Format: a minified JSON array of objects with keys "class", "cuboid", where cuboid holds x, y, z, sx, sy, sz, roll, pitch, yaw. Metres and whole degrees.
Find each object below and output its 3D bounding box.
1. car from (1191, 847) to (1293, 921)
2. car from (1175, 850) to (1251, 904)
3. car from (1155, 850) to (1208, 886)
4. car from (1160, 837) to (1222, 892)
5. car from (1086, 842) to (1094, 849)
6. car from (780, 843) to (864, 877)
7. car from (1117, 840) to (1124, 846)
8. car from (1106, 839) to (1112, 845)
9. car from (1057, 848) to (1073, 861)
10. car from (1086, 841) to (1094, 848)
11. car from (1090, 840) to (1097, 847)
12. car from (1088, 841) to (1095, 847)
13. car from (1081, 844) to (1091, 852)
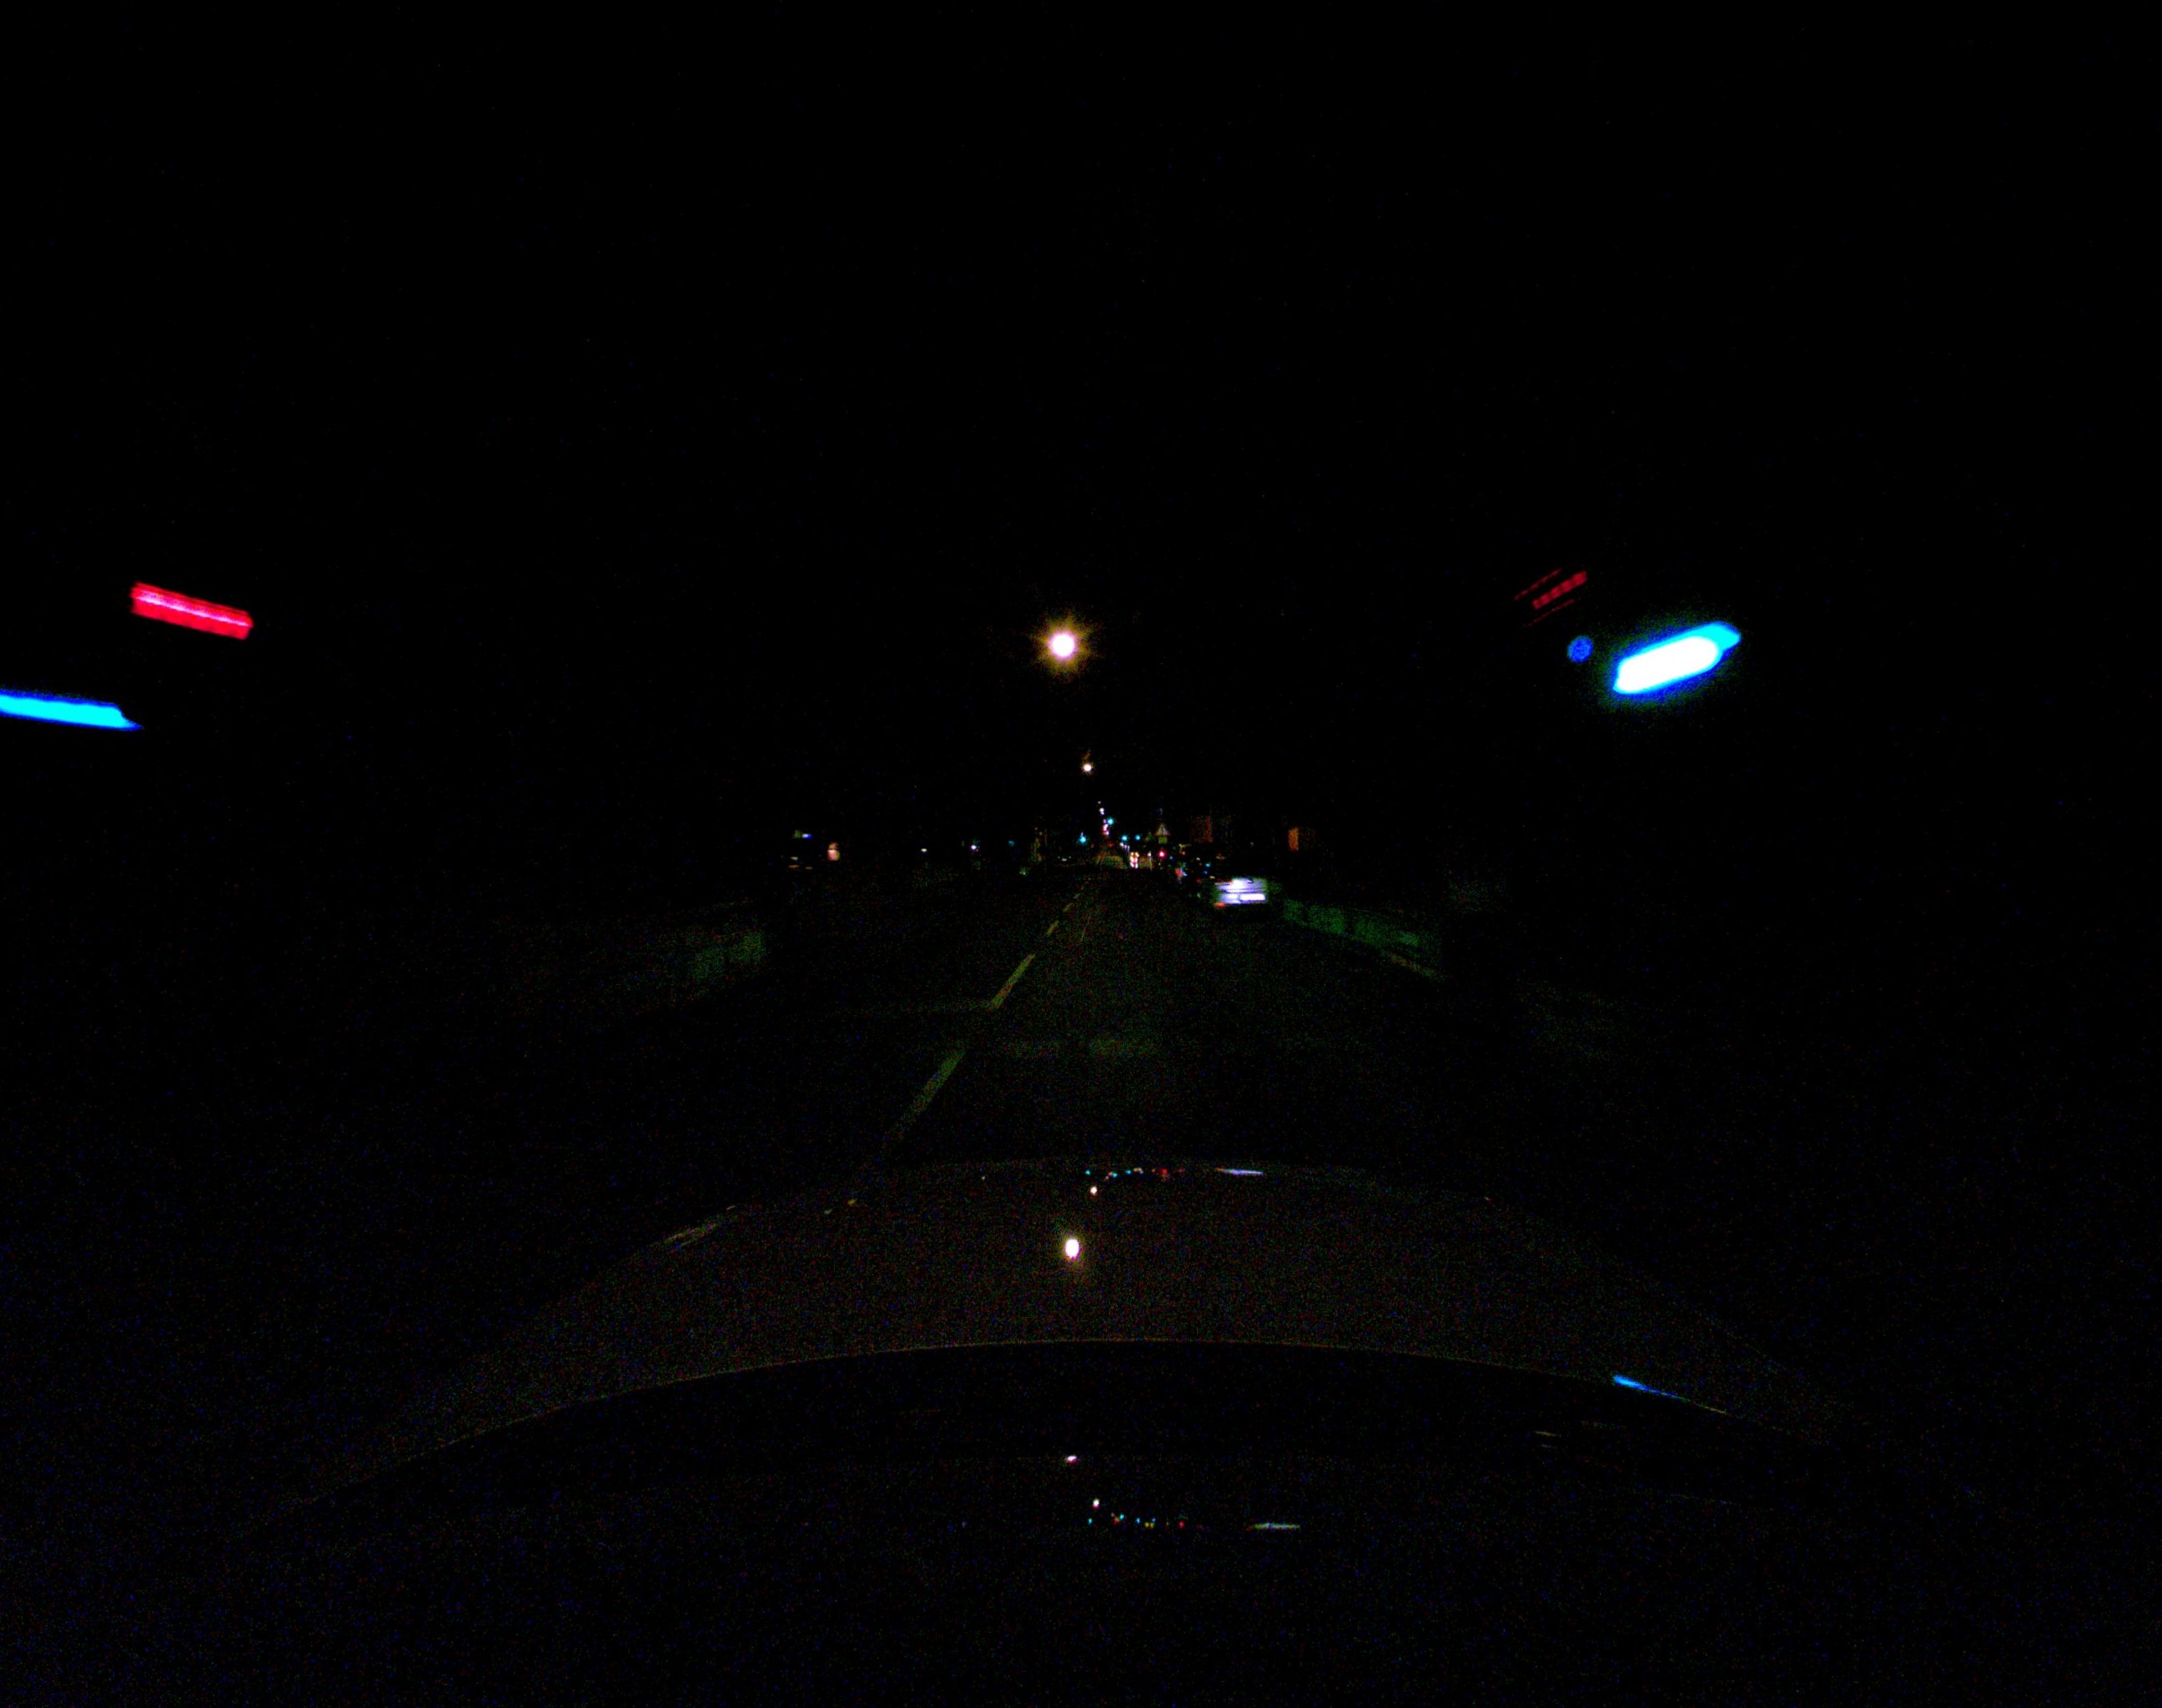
[{"class":"car","cuboid":[3.751,0.639,19.618,1.733,1.477,4.003,-4,0,2]},{"class":"car","cuboid":[3.939,0.625,24.917,1.679,1.421,4.445,-2,0,2]},{"class":"car","cuboid":[4.352,0.577,35.741,1.722,1.419,4.322,-2,0,0]},{"class":"car","cuboid":[4.063,0.359,30.714,1.729,1.855,4.316,-2,0,0]},{"class":"car","cuboid":[2.218,-2.184,207.226,1.866,1.544,4.207,-1,1,2]},{"class":"car","cuboid":[-20.143,0.494,63.520,5.825,2.544,2.247,-1,-3,0]},{"class":"car","cuboid":[10.772,-2.958,220.293,1.866,1.544,4.207,-1,1,2]},{"class":"car","cuboid":[8.617,-3.776,250.775,1.866,1.814,4.208,-1,1,3]},{"class":"car","cuboid":[-1.951,0.048,97.829,1.664,1.443,4.207,-1,1,2]},{"class":"car","cuboid":[2.321,-2.487,213.467,1.866,1.814,4.207,-1,1,2]},{"class":"car","cuboid":[3.733,-3.227,249.713,1.866,1.814,4.208,-1,1,3]},{"class":"car","cuboid":[3.051,-2.906,231.761,1.866,1.814,4.207,-1,1,2]},{"class":"car","cuboid":[1.037,-1.265,170.008,1.866,1.544,4.207,-1,1,2]}]
